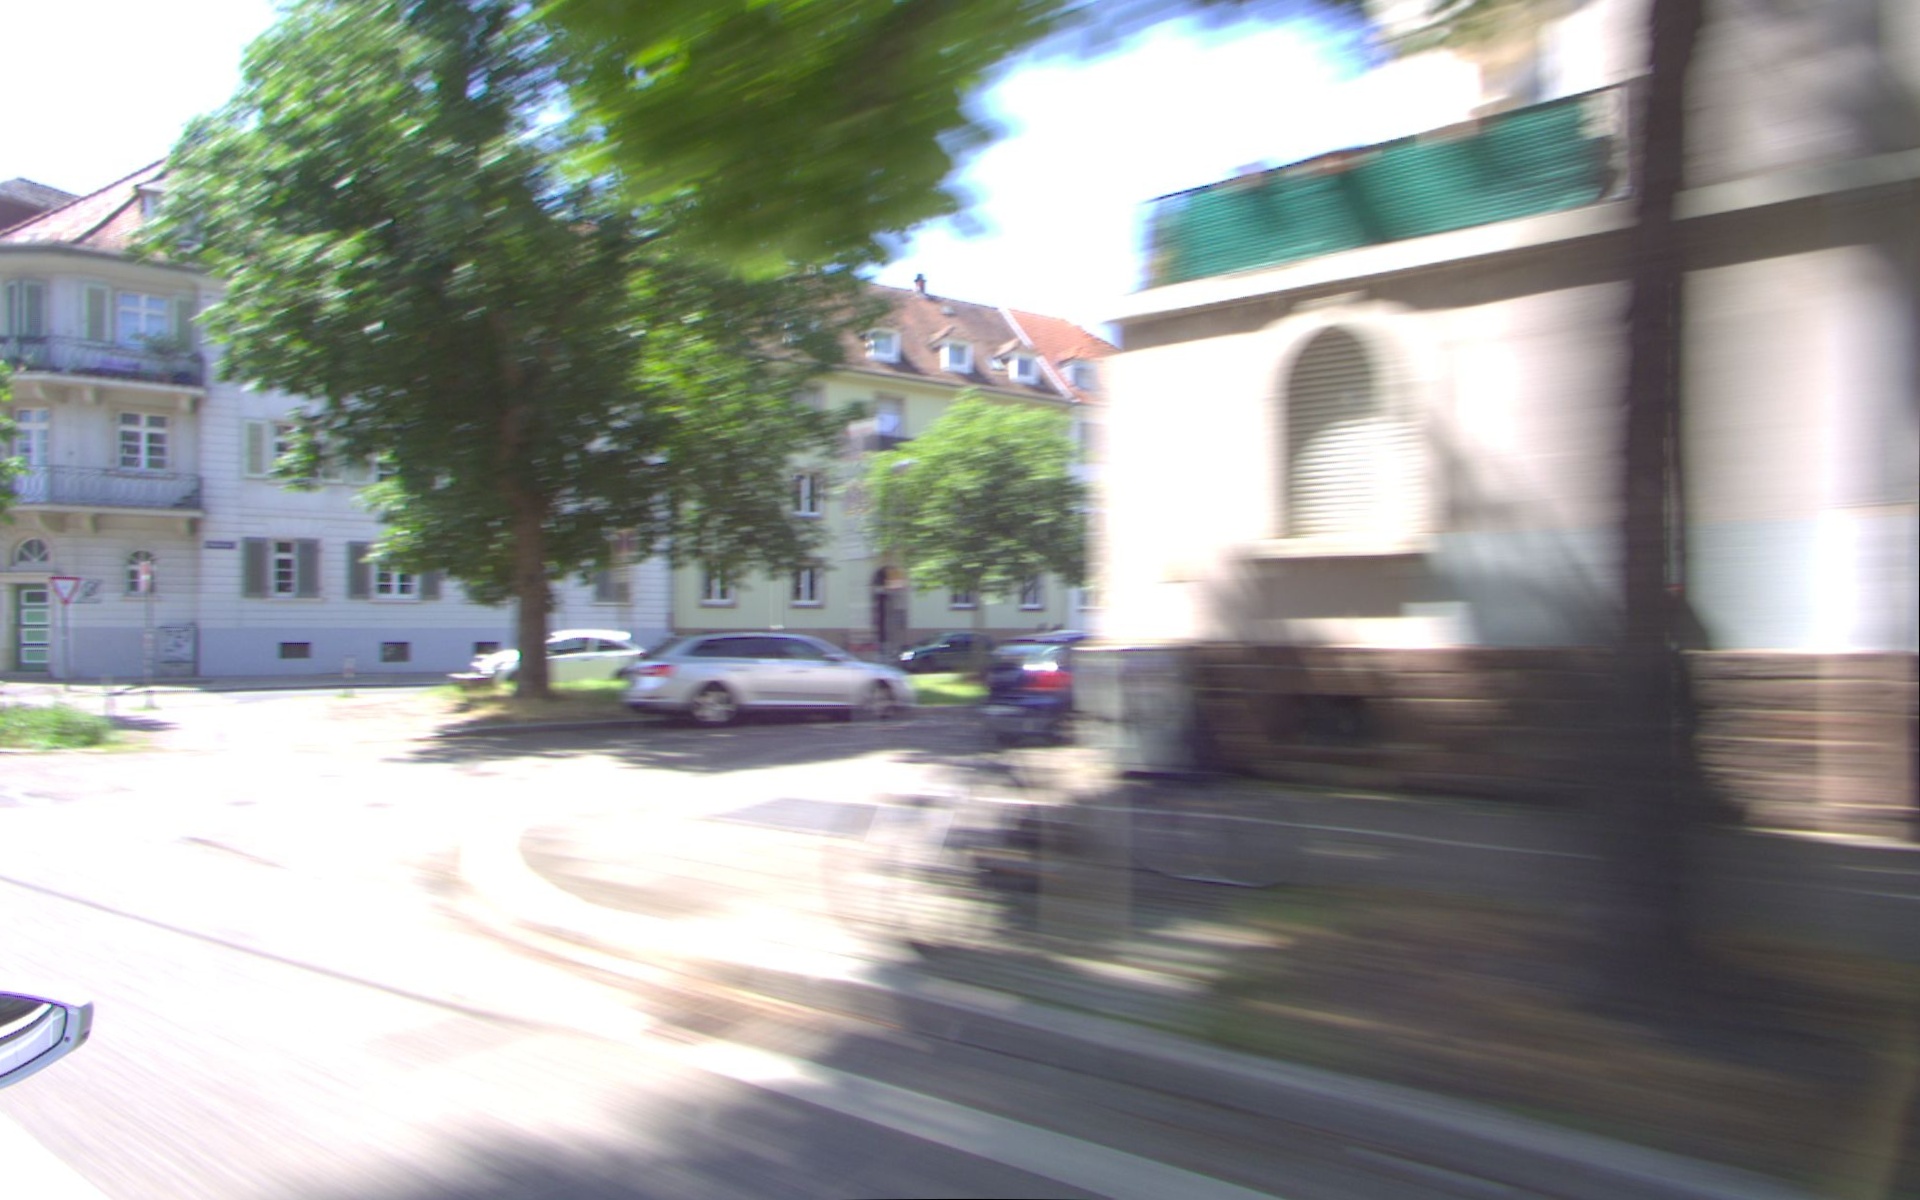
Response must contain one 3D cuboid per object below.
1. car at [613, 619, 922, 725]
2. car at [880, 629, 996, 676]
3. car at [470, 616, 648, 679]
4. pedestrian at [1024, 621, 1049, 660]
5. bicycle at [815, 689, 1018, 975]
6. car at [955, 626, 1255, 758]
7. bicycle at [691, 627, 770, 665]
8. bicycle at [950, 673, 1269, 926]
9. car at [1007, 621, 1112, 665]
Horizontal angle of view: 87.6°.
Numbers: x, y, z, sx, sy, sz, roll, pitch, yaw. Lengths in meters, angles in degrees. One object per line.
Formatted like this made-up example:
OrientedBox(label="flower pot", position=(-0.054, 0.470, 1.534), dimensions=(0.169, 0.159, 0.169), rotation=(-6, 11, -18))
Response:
OrientedBox(label="car", position=(-3.102, 1.148, 16.421), dimensions=(4.611, 1.534, 1.866), rotation=(3, -2, -31))
OrientedBox(label="car", position=(-0.784, 1.871, 36.301), dimensions=(3.942, 1.623, 1.577), rotation=(1, -2, -30))
OrientedBox(label="car", position=(-9.924, 1.136, 24.816), dimensions=(3.940, 1.438, 1.845), rotation=(1, -1, -28))
OrientedBox(label="pedestrian", position=(3.235, 1.703, 42.279), dimensions=(0.791, 1.638, 0.664), rotation=(1, 0, -35))
OrientedBox(label="bicycle", position=(-0.162, 0.987, 4.612), dimensions=(0.276, 1.077, 1.164), rotation=(-1, -1, 35))
OrientedBox(label="car", position=(1.958, 1.091, 13.070), dimensions=(3.835, 1.465, 1.635), rotation=(1, -2, -36))
OrientedBox(label="bicycle", position=(-8.117, 1.617, 35.494), dimensions=(2.693, 1.280, 0.665), rotation=(1, 2, -37))
OrientedBox(label="bicycle", position=(0.760, 1.001, 5.221), dimensions=(1.598, 1.216, 0.283), rotation=(0, -1, 13))
OrientedBox(label="car", position=(3.948, 1.670, 39.408), dimensions=(3.942, 1.642, 1.577), rotation=(1, -2, -30))
